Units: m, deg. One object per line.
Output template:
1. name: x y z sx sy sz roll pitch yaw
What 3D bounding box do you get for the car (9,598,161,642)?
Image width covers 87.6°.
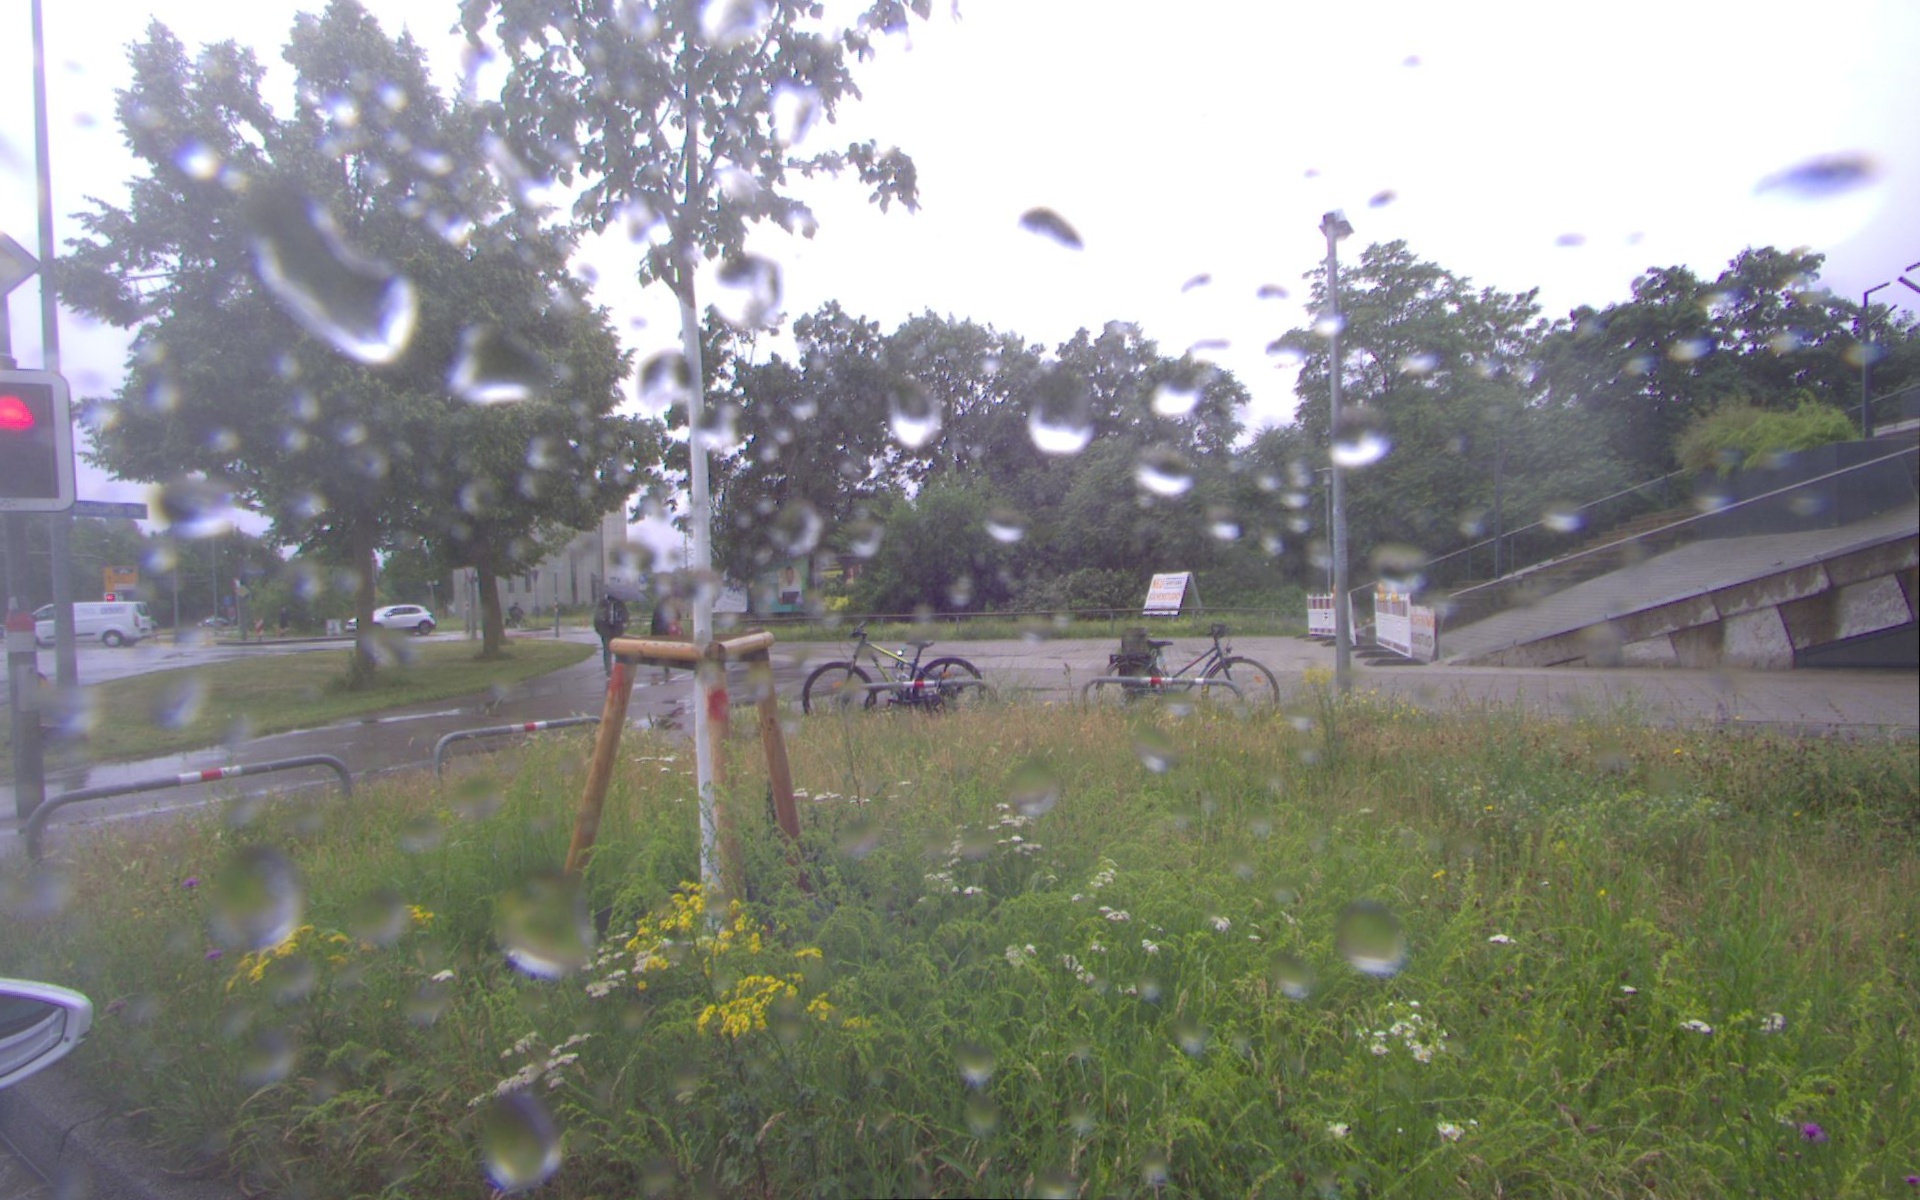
1. car: -38.853 0.924 44.615 4.703 1.874 1.993 1 -2 -27

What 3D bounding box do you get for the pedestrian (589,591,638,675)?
1. pedestrian: -6.421 0.614 18.592 0.727 1.542 0.623 0 -1 -5

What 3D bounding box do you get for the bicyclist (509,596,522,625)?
1. bicyclist: -27.686 0.649 62.358 0.491 1.764 0.586 -2 -2 44

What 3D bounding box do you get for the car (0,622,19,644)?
1. car: -76.906 2.637 79.363 1.770 1.683 3.994 0 -2 -17

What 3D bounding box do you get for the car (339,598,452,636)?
1. car: -29.480 0.857 52.443 1.971 1.876 4.751 -1 0 31

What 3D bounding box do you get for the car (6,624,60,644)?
1. car: -79.480 2.943 85.901 1.770 1.683 3.995 0 -2 -16

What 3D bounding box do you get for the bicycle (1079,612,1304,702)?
1. bicycle: 2.123 0.529 9.283 1.972 0.796 0.454 -1 -2 16

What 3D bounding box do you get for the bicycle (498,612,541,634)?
1. bicycle: -27.497 1.434 62.547 0.565 1.330 2.489 -2 -3 42

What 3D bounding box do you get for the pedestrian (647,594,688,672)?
1. pedestrian: -5.763 0.640 19.738 0.562 1.480 0.682 -2 1 -3

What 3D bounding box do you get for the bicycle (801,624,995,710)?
1. bicycle: -0.584 0.637 9.638 1.823 0.796 0.380 0 -2 -2

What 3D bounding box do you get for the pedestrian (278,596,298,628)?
1. pedestrian: -40.099 0.738 59.755 0.660 1.892 0.813 -2 -2 40
